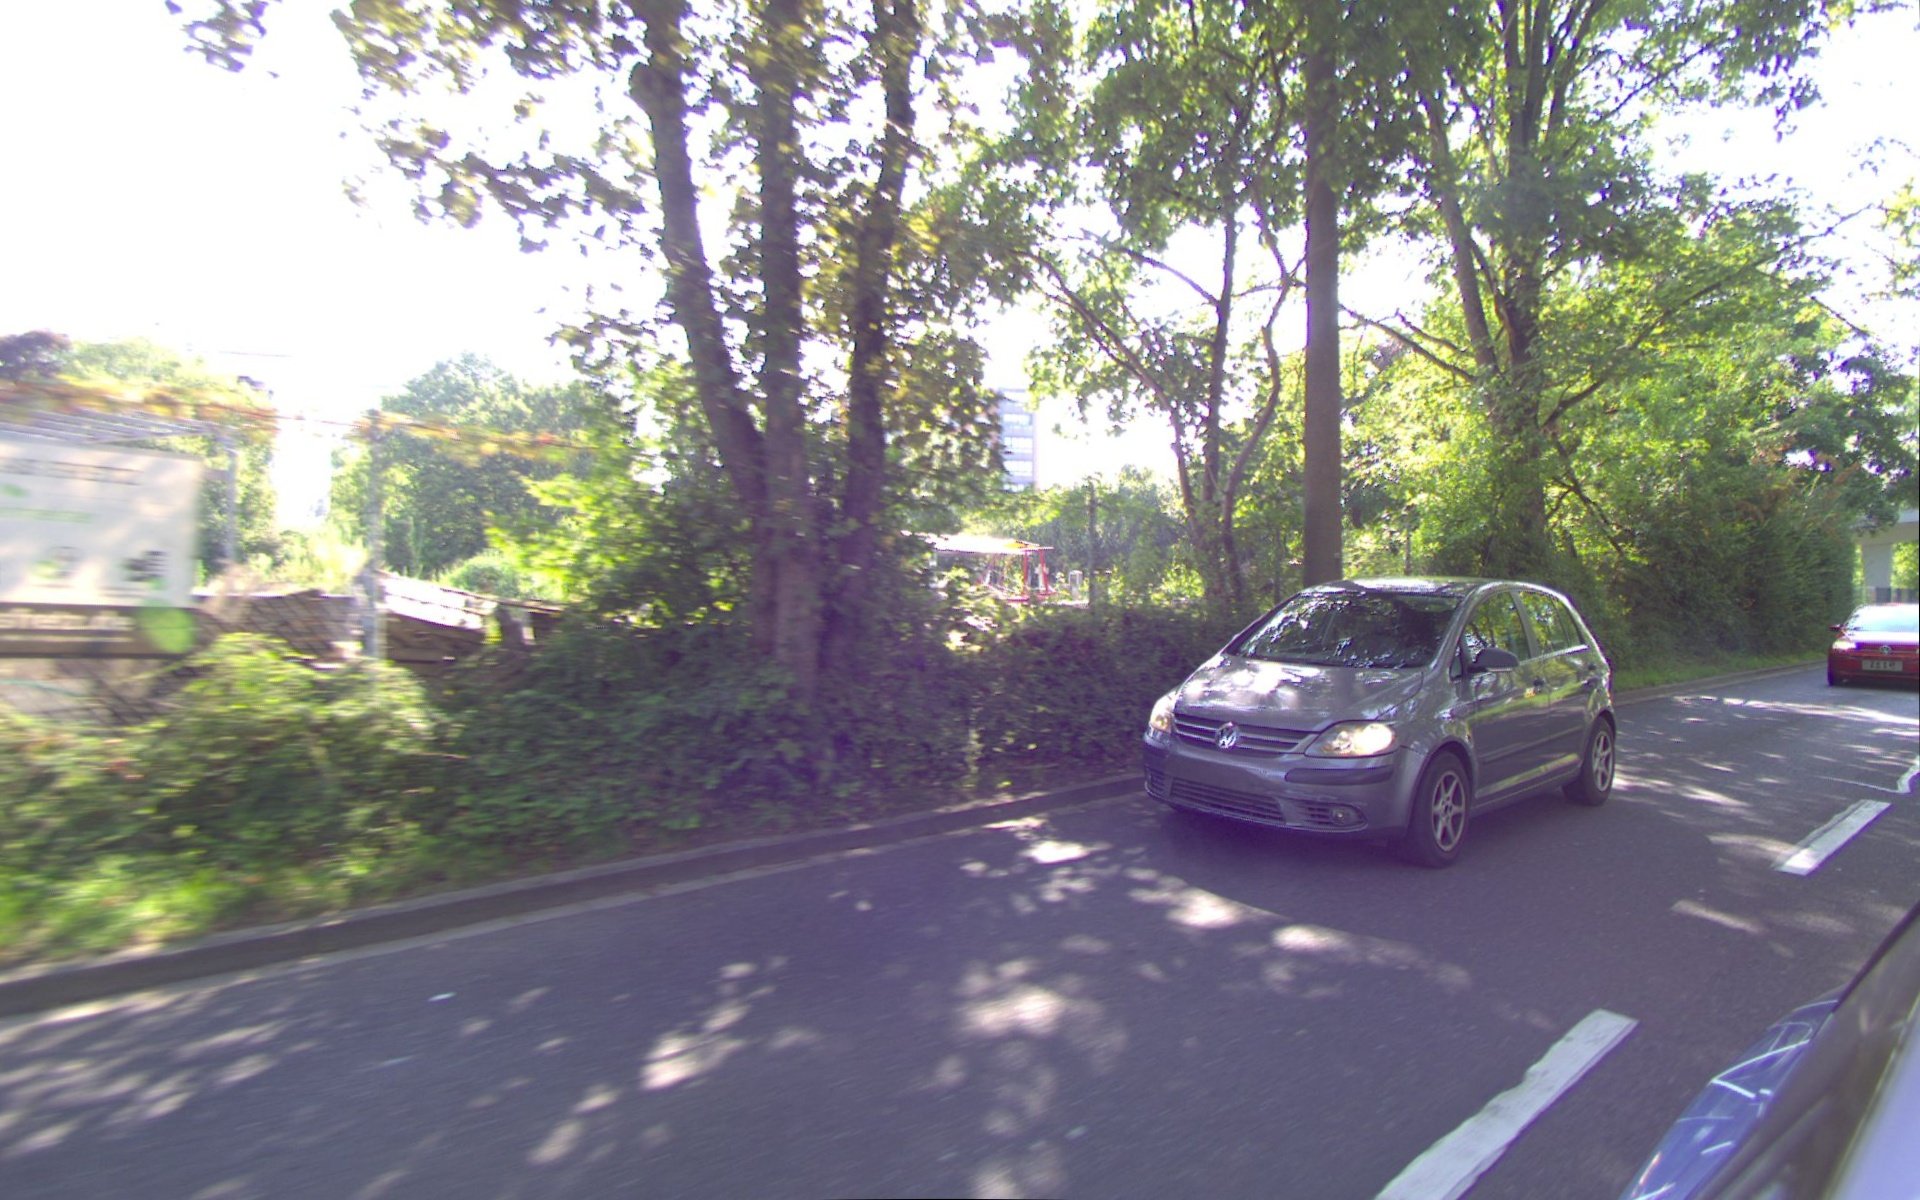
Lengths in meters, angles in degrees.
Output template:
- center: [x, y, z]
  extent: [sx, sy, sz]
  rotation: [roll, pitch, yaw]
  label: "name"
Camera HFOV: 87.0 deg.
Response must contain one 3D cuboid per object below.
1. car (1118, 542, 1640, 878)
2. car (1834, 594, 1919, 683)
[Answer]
- center: [2.915, 0.499, 6.643]
  extent: [3.831, 1.576, 1.648]
  rotation: [-1, 0, -41]
  label: "car"
- center: [17.143, 0.639, 18.095]
  extent: [3.407, 1.416, 1.580]
  rotation: [-1, 2, -36]
  label: "car"
